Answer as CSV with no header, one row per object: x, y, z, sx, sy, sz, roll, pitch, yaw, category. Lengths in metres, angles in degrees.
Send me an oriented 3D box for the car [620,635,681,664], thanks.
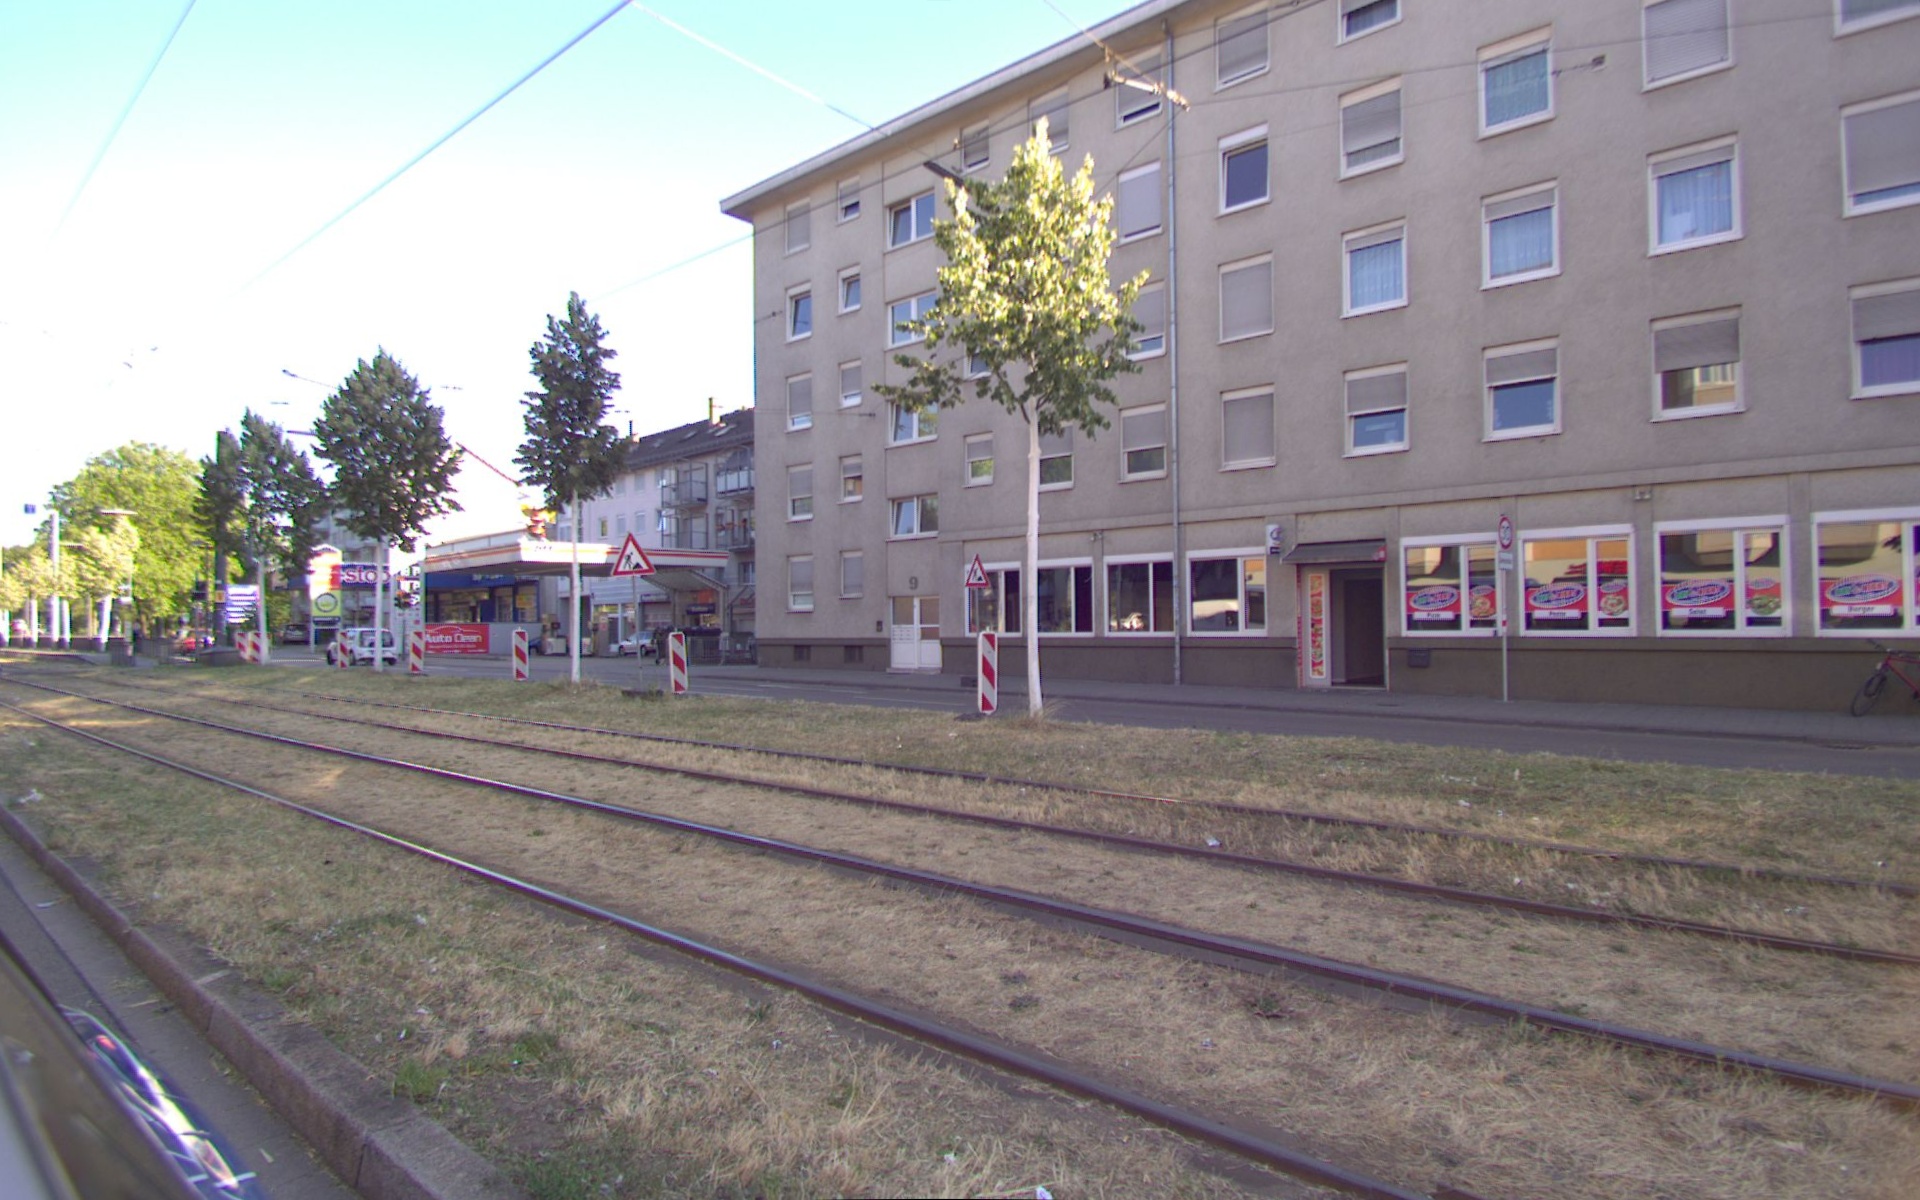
-18.044,2.840,58.915,1.791,1.535,3.831,-2,0,-44,car

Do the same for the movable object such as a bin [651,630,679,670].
-10.513,1.761,36.049,0.748,1.411,0.656,-2,-3,39,movable object such as a bin

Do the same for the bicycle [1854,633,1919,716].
13.522,1.020,13.923,1.777,1.123,0.739,-2,-2,41,bicycle

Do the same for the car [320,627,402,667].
-24.035,1.866,40.564,3.828,1.523,1.792,-2,-3,42,car

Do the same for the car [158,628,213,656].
-45.219,2.418,59.060,4.935,1.572,1.792,-1,-2,44,car

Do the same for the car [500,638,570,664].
-27.497,3.283,65.531,1.818,1.535,3.752,-2,-2,44,car
